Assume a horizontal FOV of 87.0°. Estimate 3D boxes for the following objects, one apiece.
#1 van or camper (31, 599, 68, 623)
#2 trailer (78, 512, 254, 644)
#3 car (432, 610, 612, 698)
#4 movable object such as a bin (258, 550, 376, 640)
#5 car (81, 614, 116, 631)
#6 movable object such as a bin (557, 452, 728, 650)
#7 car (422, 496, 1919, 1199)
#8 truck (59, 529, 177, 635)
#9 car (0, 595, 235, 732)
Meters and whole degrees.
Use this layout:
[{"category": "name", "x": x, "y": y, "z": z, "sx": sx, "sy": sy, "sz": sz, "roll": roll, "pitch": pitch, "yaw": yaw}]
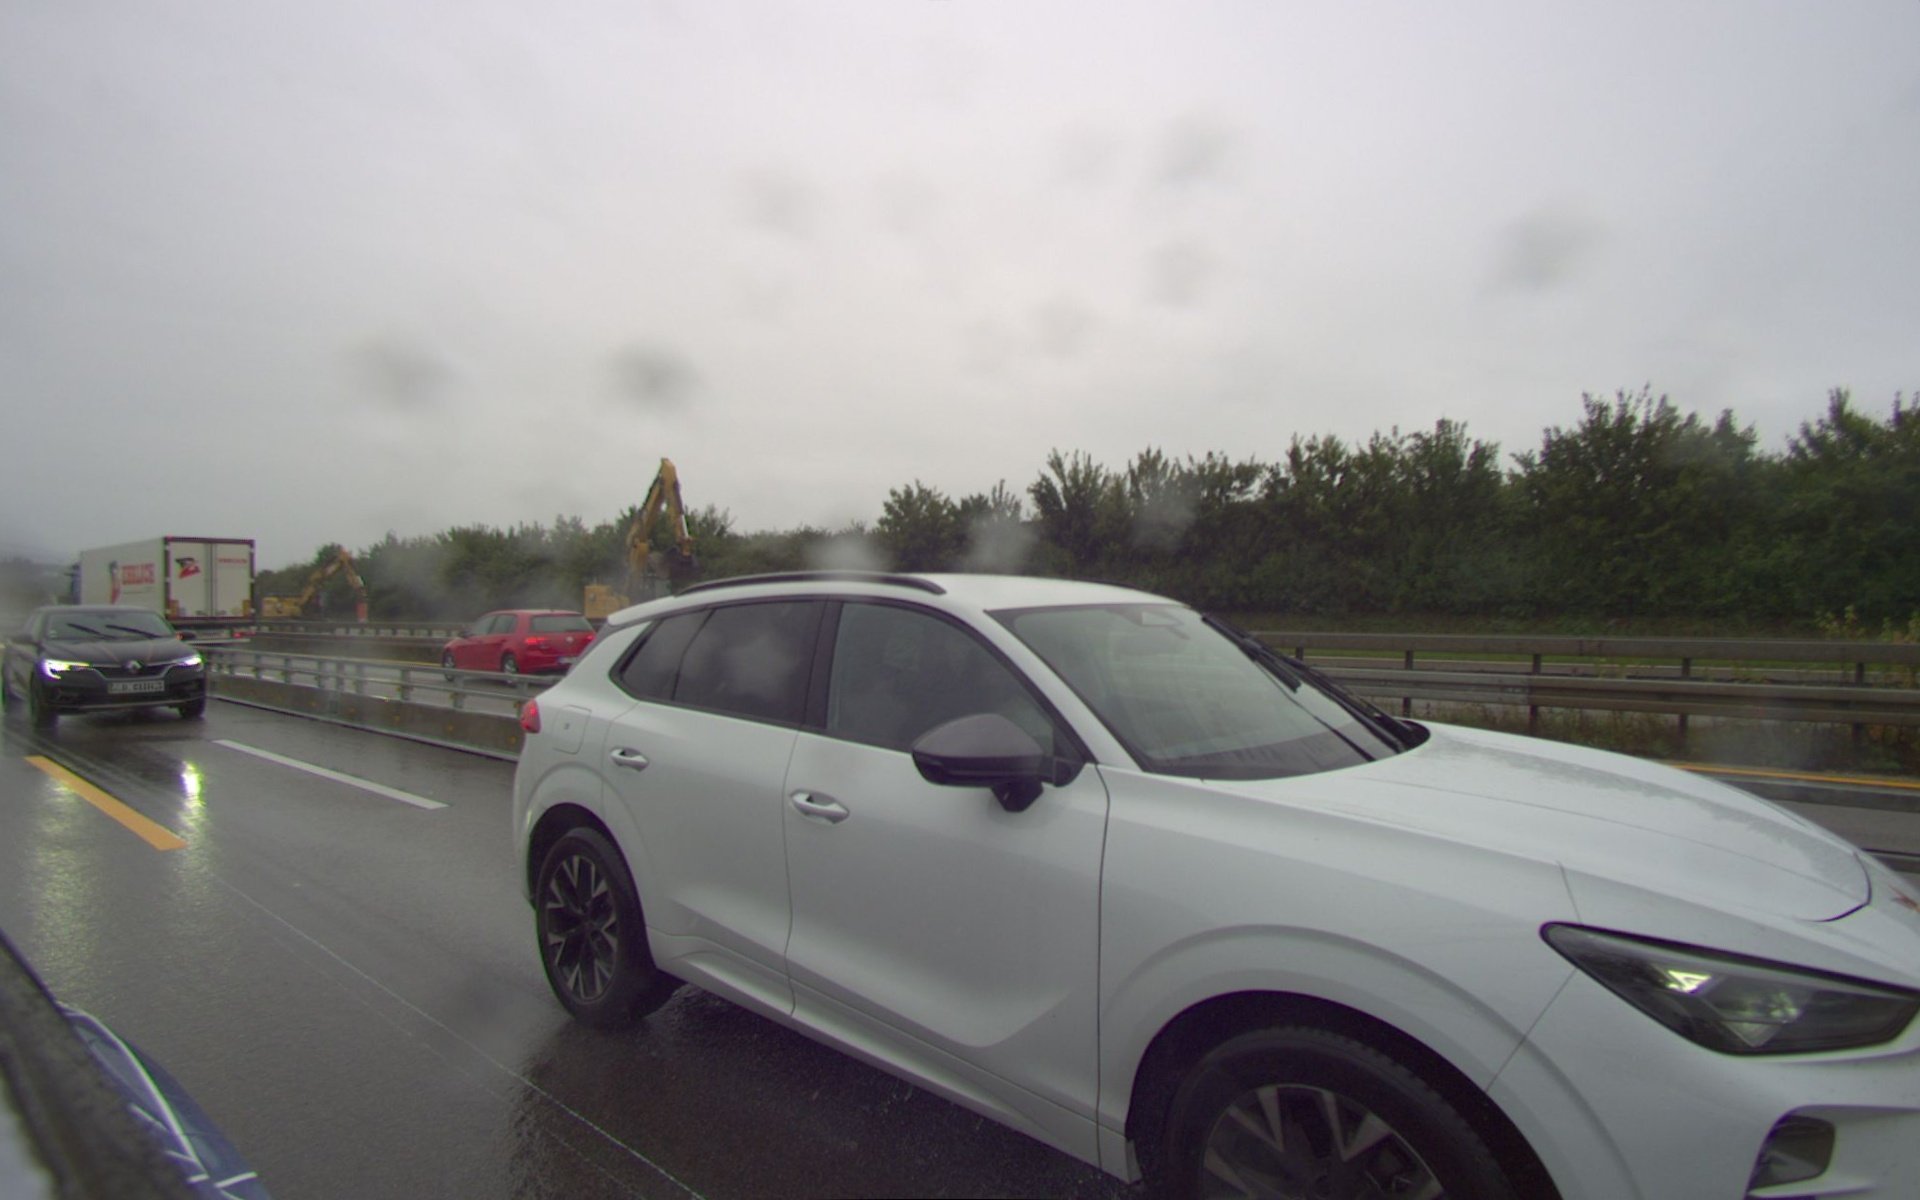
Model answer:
[{"category": "van or camper", "x": -169.357, "y": 1.973, "z": 188.228, "sx": 8.486, "sy": 4.356, "sz": 3.338, "roll": 0, "pitch": 1, "yaw": 35}, {"category": "trailer", "x": -30.431, "y": -0.704, "z": 38.426, "sx": 12.888, "sy": 4.319, "sz": 2.862, "roll": 0, "pitch": -1, "yaw": 41}, {"category": "car", "x": -8.742, "y": 0.976, "z": 20.050, "sx": 4.214, "sy": 1.515, "sz": 1.591, "roll": 0, "pitch": 1, "yaw": 41}, {"category": "movable object such as a bin", "x": -45.937, "y": -0.369, "z": 72.126, "sx": 11.040, "sy": 5.959, "sz": 4.128, "roll": 0, "pitch": 1, "yaw": 41}, {"category": "car", "x": -103.954, "y": 2.650, "z": 122.130, "sx": 5.354, "sy": 1.981, "sz": 2.075, "roll": -1, "pitch": -1, "yaw": 36}, {"category": "movable object such as a bin", "x": -14.537, "y": -2.039, "z": 46.015, "sx": 8.304, "sy": 8.204, "sz": 3.559, "roll": 0, "pitch": 1, "yaw": 41}, {"category": "car", "x": 0.176, "y": 0.666, "z": 3.360, "sx": 5.006, "sy": 1.562, "sz": 1.907, "roll": 0, "pitch": 0, "yaw": 42}, {"category": "truck", "x": -36.369, "y": -0.694, "z": 43.644, "sx": 6.322, "sy": 4.264, "sz": 2.859, "roll": 0, "pitch": -1, "yaw": 40}, {"category": "car", "x": -12.429, "y": 0.781, "z": 14.608, "sx": 5.192, "sy": 1.640, "sz": 2.043, "roll": -1, "pitch": -1, "yaw": 41}]
